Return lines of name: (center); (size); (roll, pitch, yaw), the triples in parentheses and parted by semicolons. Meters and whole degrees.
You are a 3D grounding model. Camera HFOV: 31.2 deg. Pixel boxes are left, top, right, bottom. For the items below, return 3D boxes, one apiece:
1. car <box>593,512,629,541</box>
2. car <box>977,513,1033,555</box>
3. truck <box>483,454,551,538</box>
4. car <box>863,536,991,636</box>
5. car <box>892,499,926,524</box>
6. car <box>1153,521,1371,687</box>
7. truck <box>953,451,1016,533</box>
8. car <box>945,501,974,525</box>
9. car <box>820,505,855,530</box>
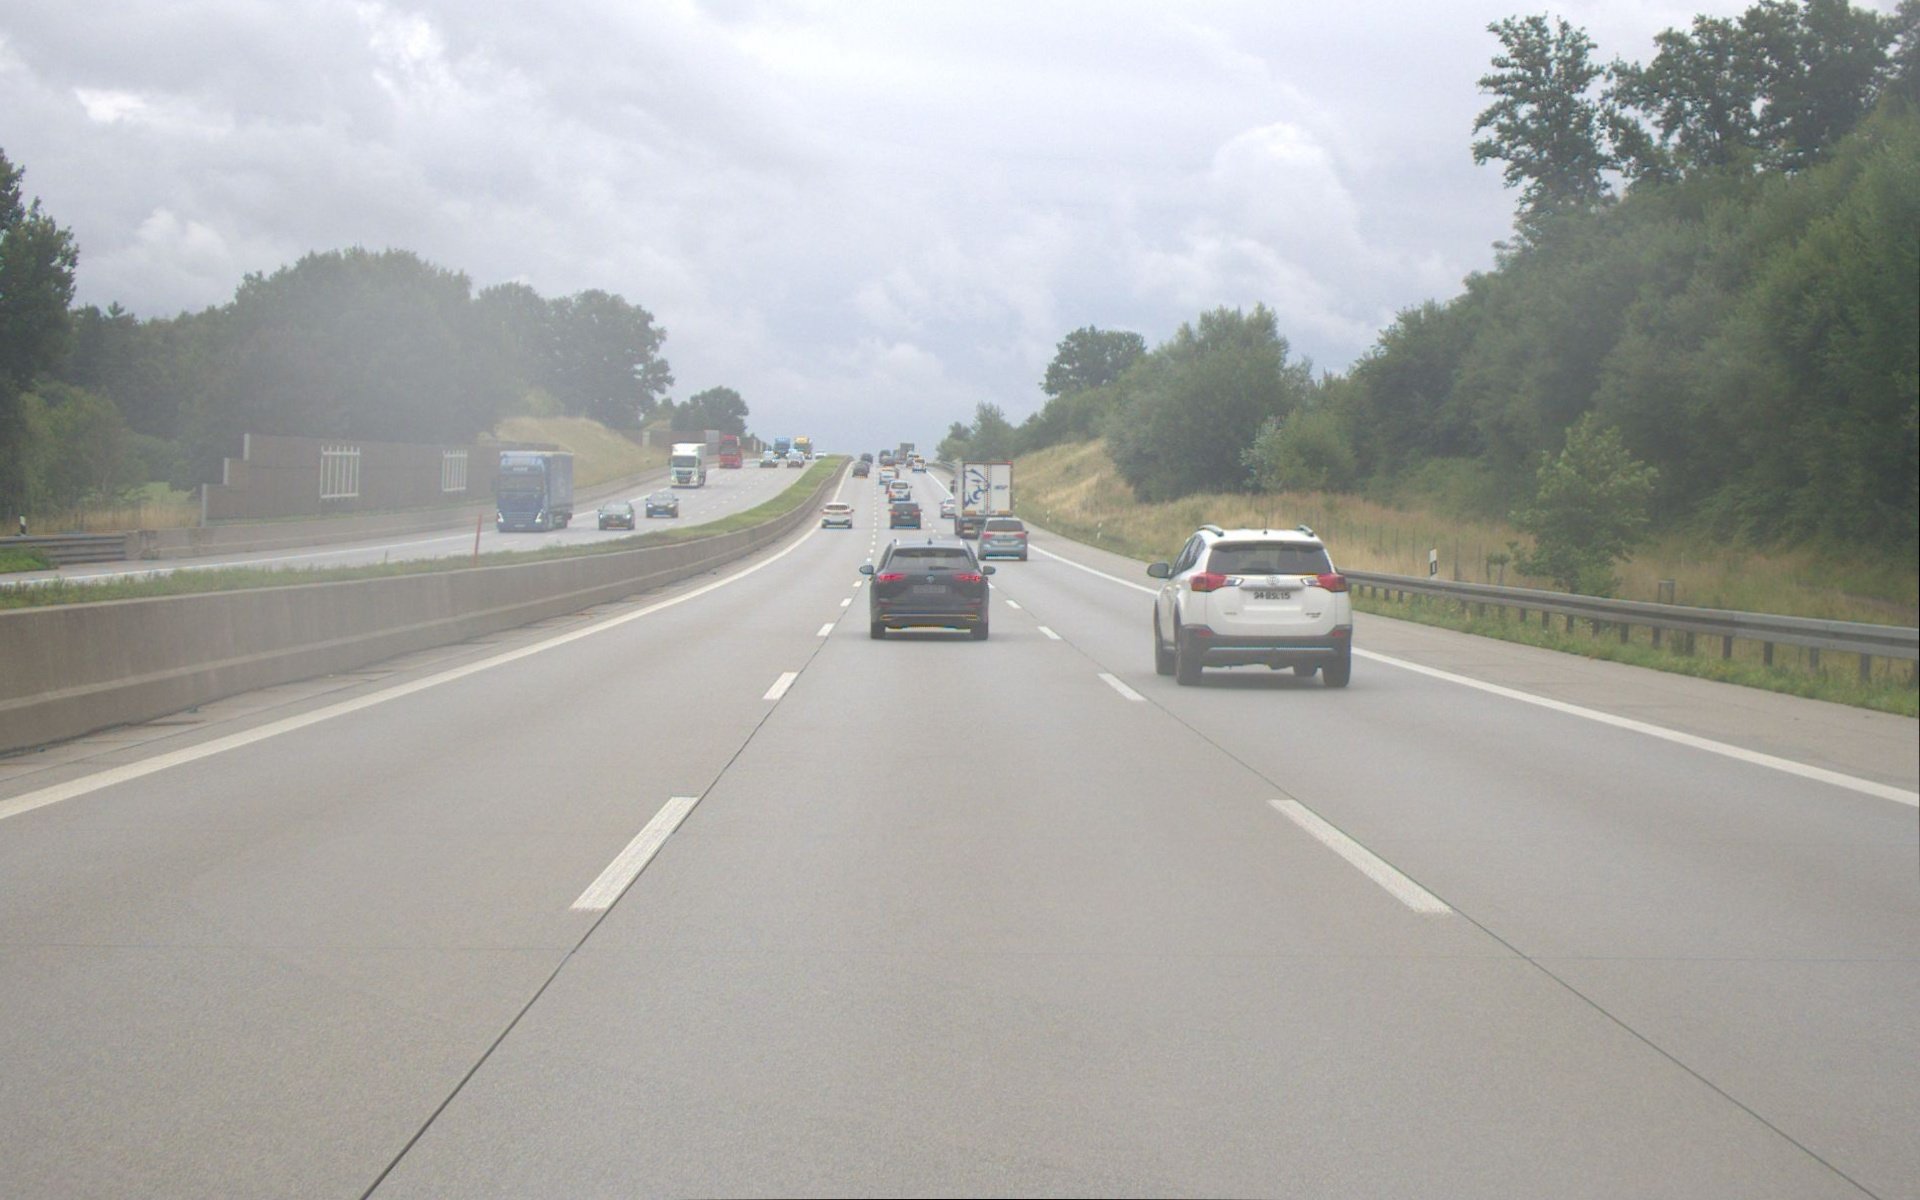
car: (-18.660, -3.927, 183.976); (1.636, 1.495, 4.519); (1, 1, -2)
car: (1.679, -2.481, 129.694); (1.993, 1.525, 4.000); (1, 1, 0)
truck: (-22.713, -5.310, 176.395); (2.691, 4.174, 6.211); (1, 1, -1)
car: (-0.530, -0.195, 51.154); (1.752, 1.393, 4.484); (1, 0, -2)
car: (-3.075, -5.314, 206.828); (1.935, 1.370, 4.595); (1, 1, 0)
car: (3.177, 0.010, 36.886); (1.825, 1.650, 3.985); (1, 1, -2)
truck: (1.233, -5.677, 180.132); (3.017, 4.166, 8.355); (1, 2, -1)
car: (-0.009, -6.180, 244.097); (1.993, 1.634, 4.000); (1, 2, 1)
car: (-7.373, -4.974, 207.282); (1.947, 1.351, 4.259); (0, -1, 0)
